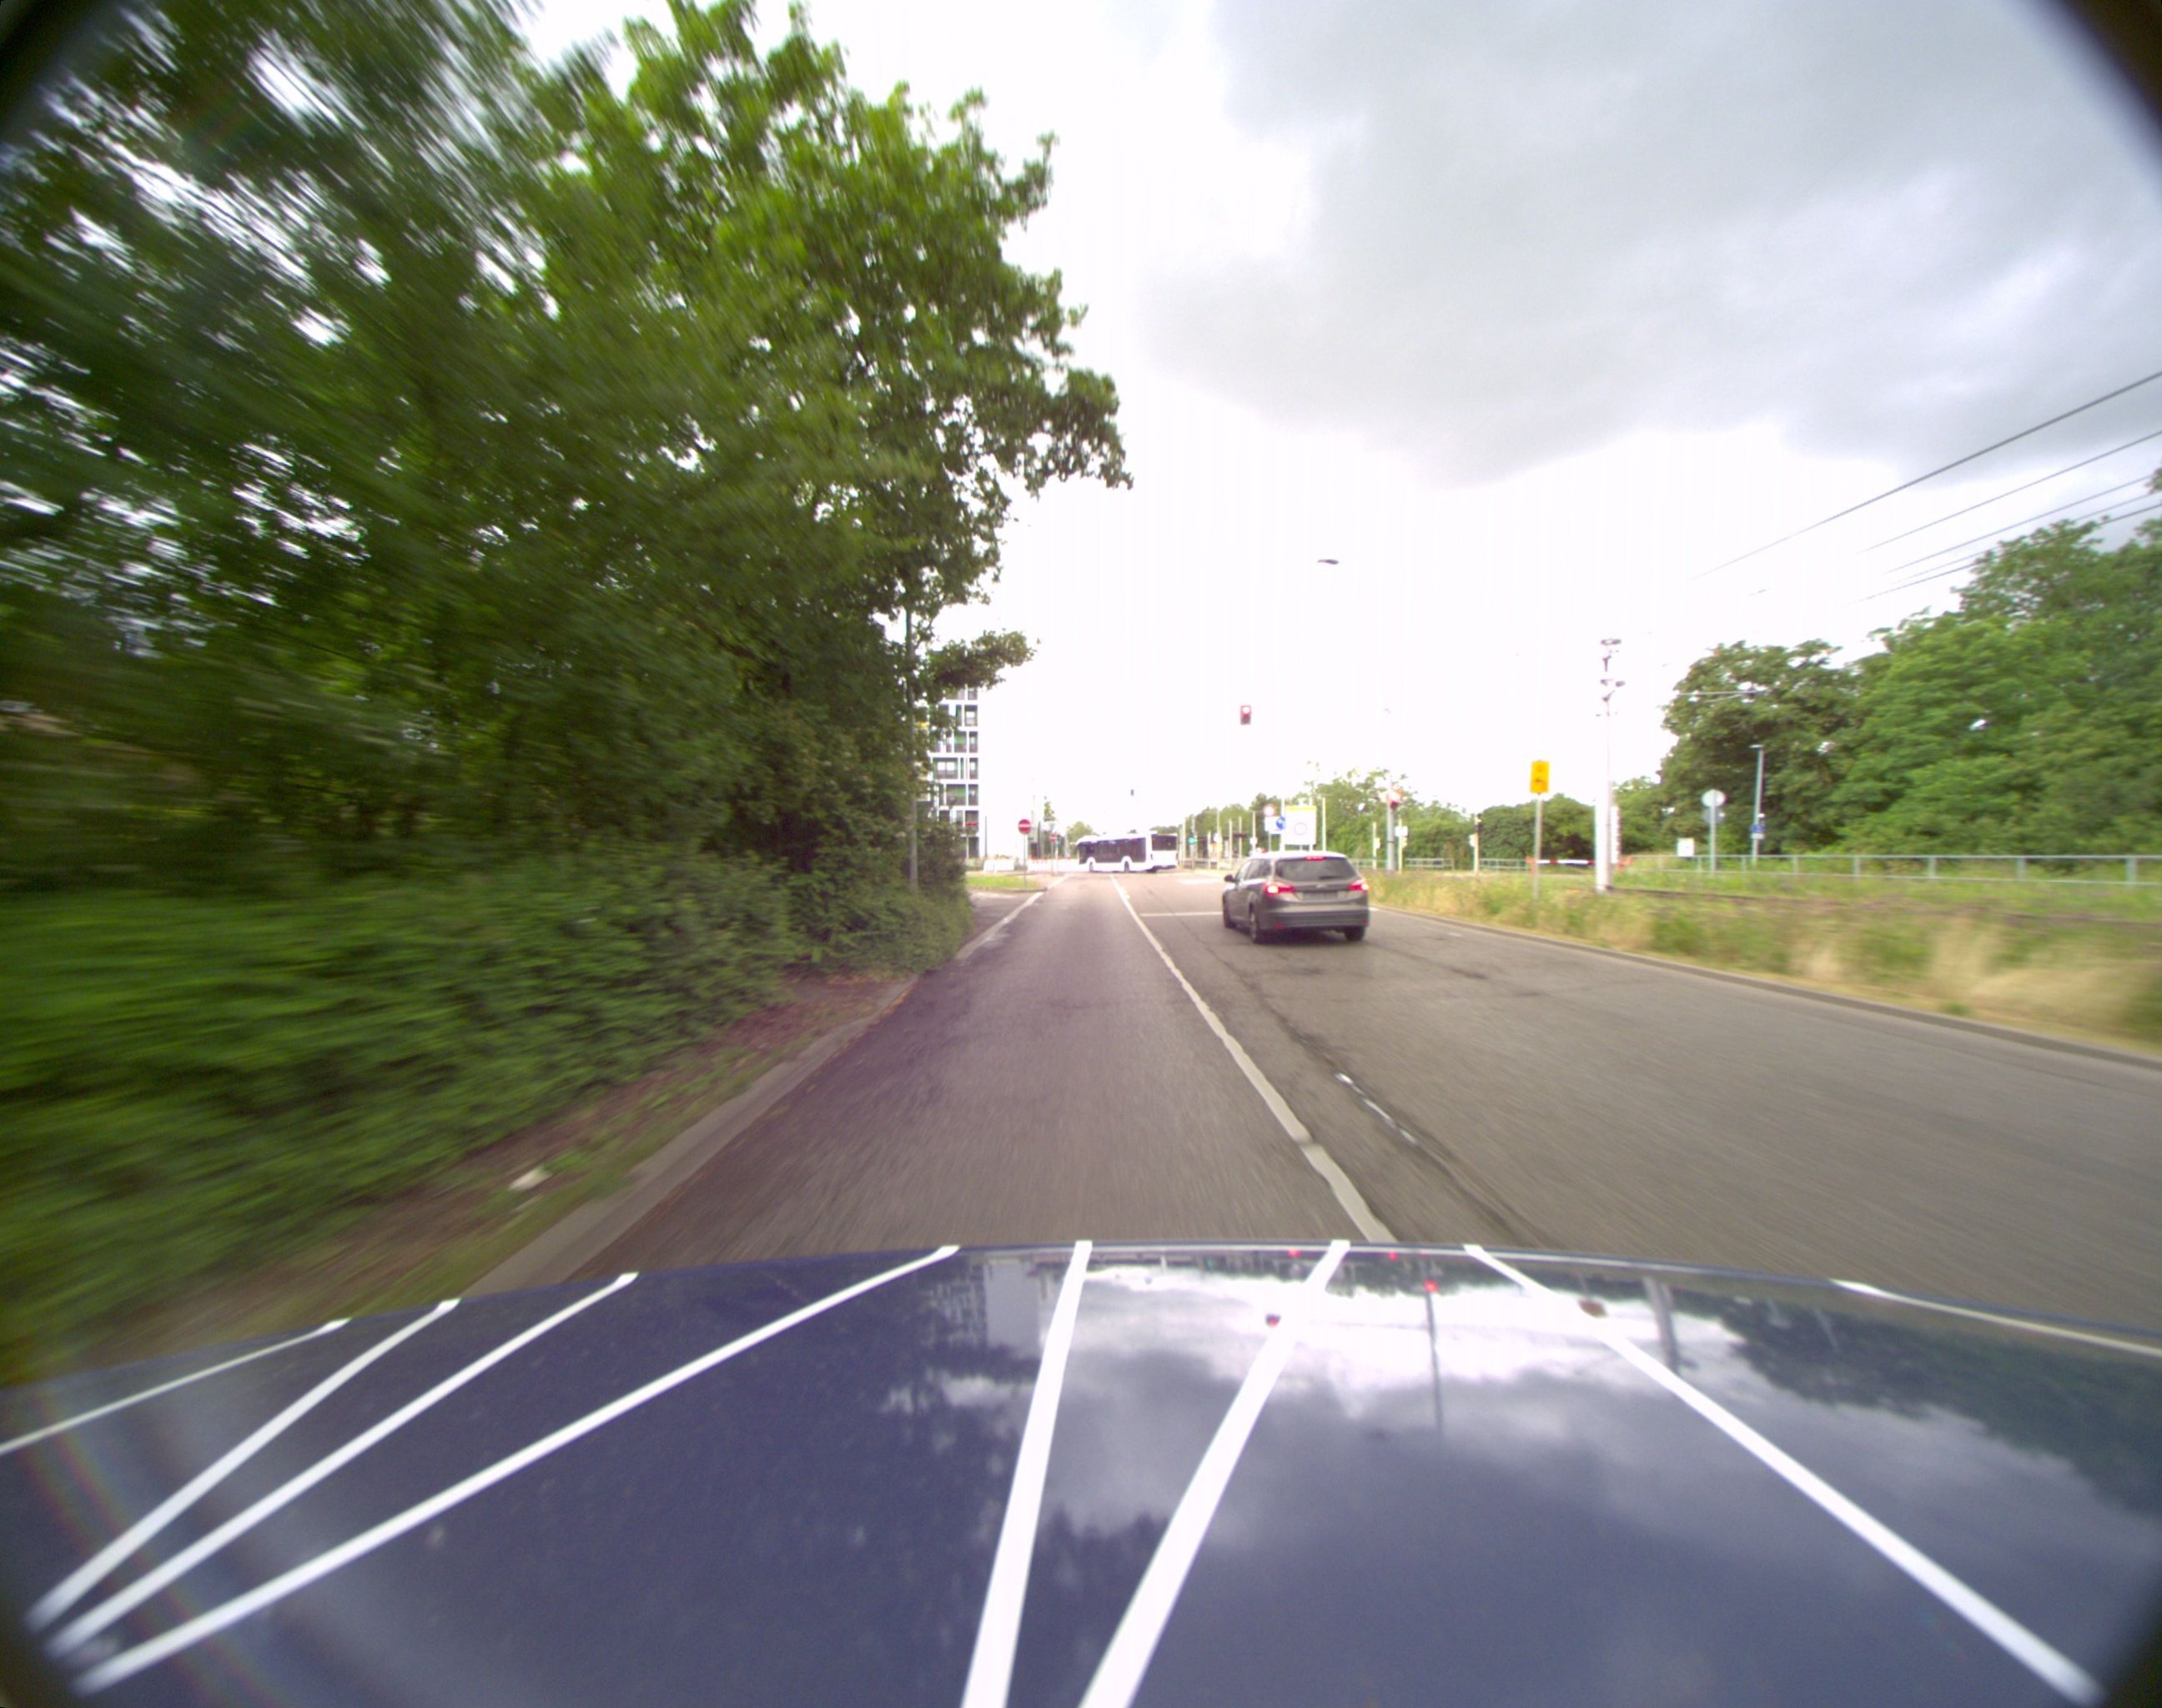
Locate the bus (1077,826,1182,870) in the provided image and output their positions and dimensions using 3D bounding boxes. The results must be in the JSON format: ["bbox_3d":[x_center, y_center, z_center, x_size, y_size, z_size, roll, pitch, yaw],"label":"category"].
[{"bbox_3d":[3.557,-0.478,60.936,2.678,3.184,12.172,-1,1,-26],"label":"bus"}]

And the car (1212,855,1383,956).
[{"bbox_3d":[3.589,0.766,13.441,1.760,1.426,4.428,-1,0,0],"label":"car"}]

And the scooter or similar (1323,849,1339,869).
[{"bbox_3d":[15.870,0.322,48.235,0.412,1.264,1.268,-1,0,-10],"label":"scooter or similar"}]
